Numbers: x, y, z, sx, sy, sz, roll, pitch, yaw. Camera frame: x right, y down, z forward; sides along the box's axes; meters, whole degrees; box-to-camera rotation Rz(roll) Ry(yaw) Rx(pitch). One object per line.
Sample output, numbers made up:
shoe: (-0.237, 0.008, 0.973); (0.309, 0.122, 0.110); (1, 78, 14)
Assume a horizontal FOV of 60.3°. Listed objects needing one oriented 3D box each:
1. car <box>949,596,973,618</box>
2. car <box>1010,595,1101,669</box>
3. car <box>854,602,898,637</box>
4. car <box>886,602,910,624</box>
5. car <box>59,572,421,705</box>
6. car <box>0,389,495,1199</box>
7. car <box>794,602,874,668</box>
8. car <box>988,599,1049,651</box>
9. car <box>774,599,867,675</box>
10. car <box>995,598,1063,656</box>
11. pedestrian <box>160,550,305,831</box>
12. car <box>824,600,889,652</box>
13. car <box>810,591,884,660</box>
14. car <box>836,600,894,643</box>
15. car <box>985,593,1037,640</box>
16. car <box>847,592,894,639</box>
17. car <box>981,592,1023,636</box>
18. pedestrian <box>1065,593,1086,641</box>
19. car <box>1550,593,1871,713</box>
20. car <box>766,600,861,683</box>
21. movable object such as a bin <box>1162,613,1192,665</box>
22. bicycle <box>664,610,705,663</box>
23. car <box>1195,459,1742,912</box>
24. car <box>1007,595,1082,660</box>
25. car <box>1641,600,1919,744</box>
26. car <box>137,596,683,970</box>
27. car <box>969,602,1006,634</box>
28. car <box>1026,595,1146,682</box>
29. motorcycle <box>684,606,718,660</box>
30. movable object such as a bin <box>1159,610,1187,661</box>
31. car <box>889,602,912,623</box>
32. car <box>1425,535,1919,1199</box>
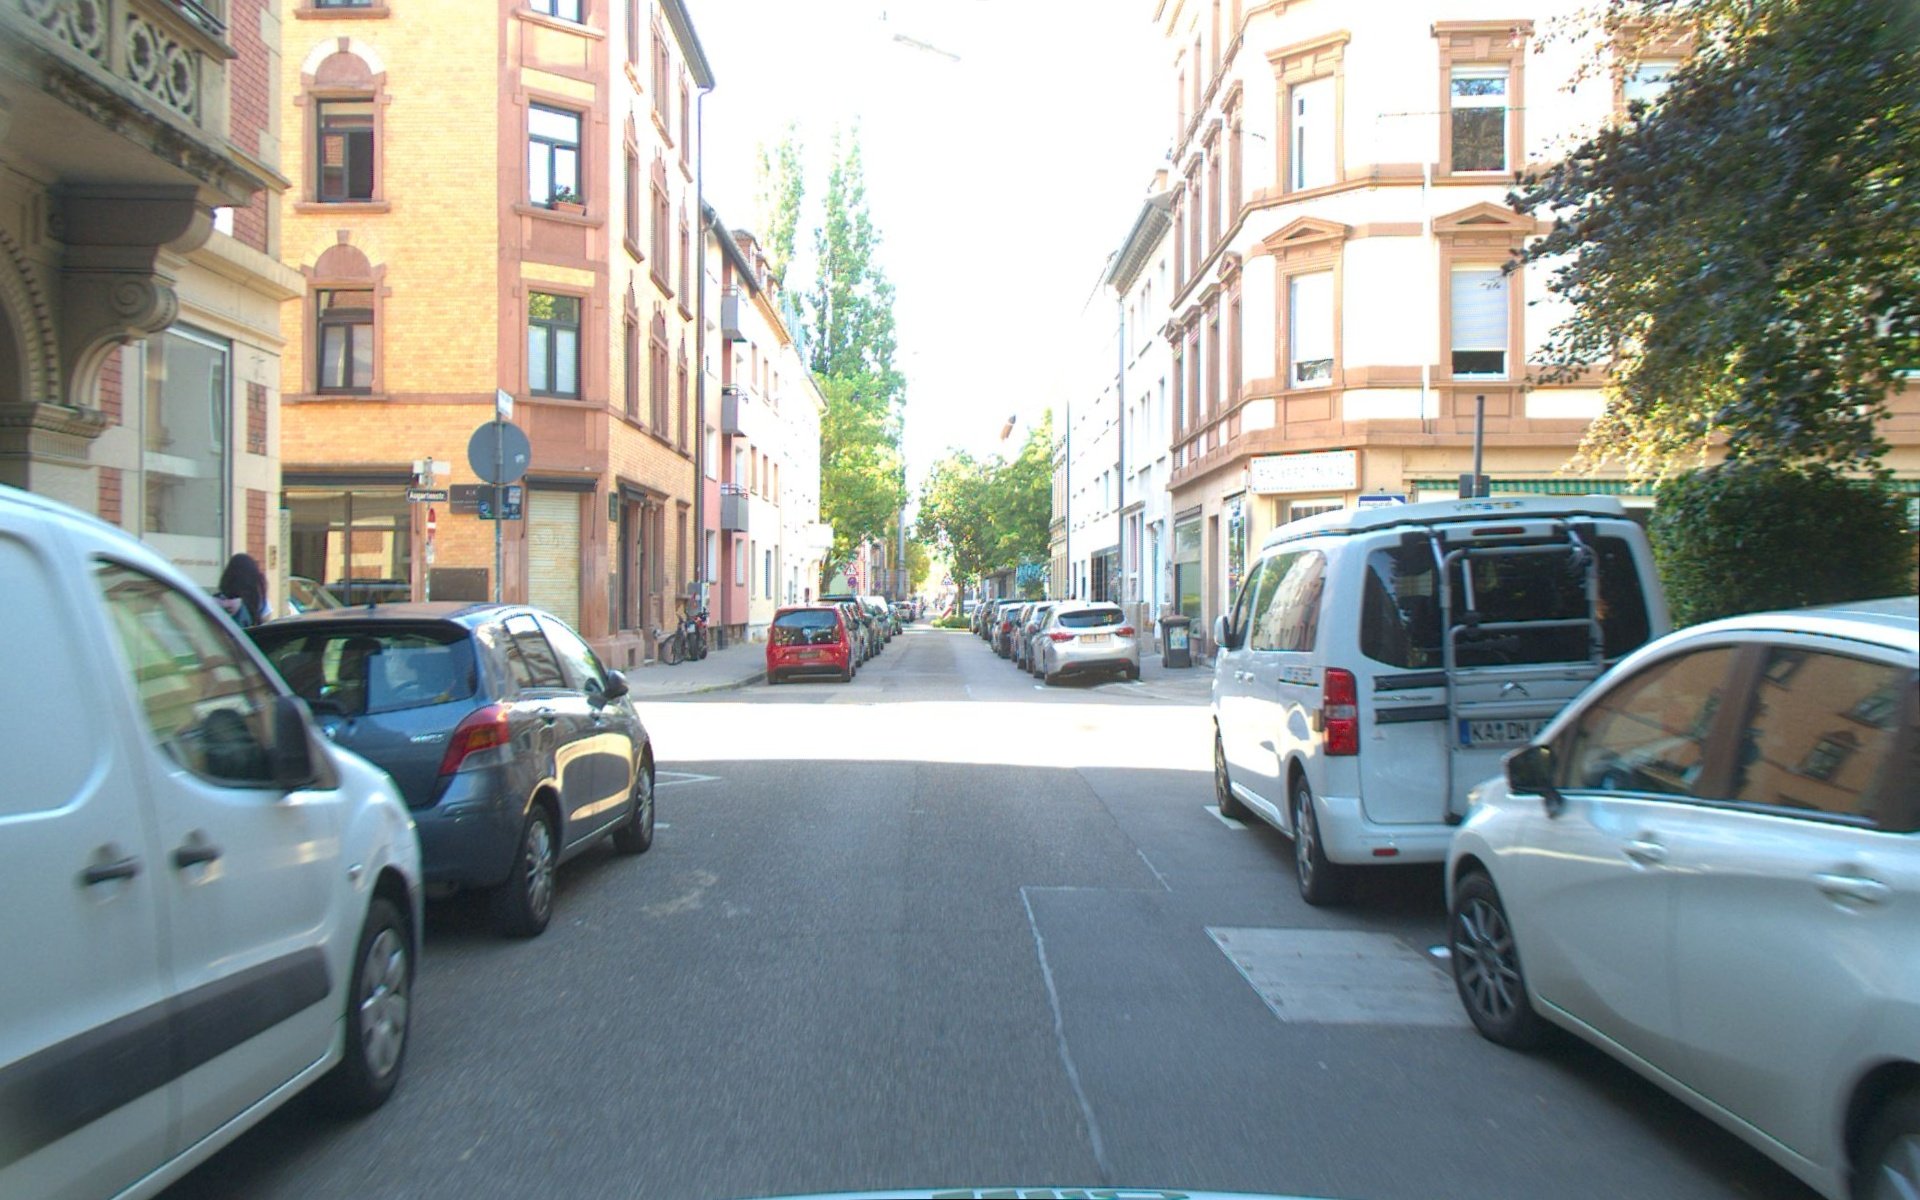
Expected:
car: (0.087, 0.508, 122.505); (1.642, 1.513, 3.636); (-2, 0, -2)
car: (2.127, 0.691, 37.825); (1.709, 1.533, 4.020); (-2, 0, -2)
car: (-3.818, 0.892, 75.824); (1.635, 1.495, 3.821); (-2, 0, 2)
car: (-4.537, 0.972, 121.121); (1.642, 1.513, 4.093); (-2, 0, -2)
car: (-10.874, 0.597, 25.204); (4.612, 1.928, 2.027); (0, -2, 4)
car: (-2.526, 0.588, 3.532); (1.794, 1.843, 4.571); (-2, 0, -1)
car: (-3.175, 0.846, 42.298); (1.622, 1.548, 3.944); (-2, 0, 1)
car: (1.827, 0.756, 52.443); (1.642, 1.533, 3.936); (-2, 0, -2)
car: (-3.111, 0.793, 37.477); (1.660, 1.548, 4.096); (-2, 0, 1)
car: (1.928, 0.741, 47.357); (1.642, 1.533, 3.936); (-2, 0, -2)
pedestrian: (-4.489, 0.550, 10.248); (0.537, 1.673, 0.717); (1, -2, -1)
car: (-3.266, 0.809, 53.002); (1.707, 1.533, 4.346); (-2, 0, 1)
car: (-3.215, 0.699, 47.795); (1.707, 1.842, 4.672); (-2, 0, 1)
car: (-3.538, 0.778, 62.421); (1.638, 1.512, 3.994); (-2, 0, 4)
car: (1.946, 0.638, 64.068); (1.642, 1.655, 4.249); (-4, 0, -2)
car: (-3.604, 0.601, 66.951); (1.729, 1.816, 4.038); (-2, 0, -2)
car: (1.722, 0.592, 69.012); (1.641, 1.711, 4.094); (-2, -1, 0)
pedestrian: (4.099, 0.615, 58.915); (0.671, 1.689, 0.717); (-1, 0, -1)
car: (10.673, 0.759, 23.759); (3.836, 1.636, 1.762); (0, -2, 6)
car: (-2.844, 0.773, 32.713); (1.595, 1.507, 3.600); (-2, 0, -2)
movable object such as a bin: (4.572, 0.814, 34.874); (0.503, 1.058, 0.619); (-2, 0, 0)
bicycle: (-6.052, 0.790, 36.404); (0.522, 1.092, 1.891); (4, 0, 0)
car: (2.691, 0.392, 10.042); (1.875, 2.033, 4.792); (-2, 0, 1)
car: (2.145, 0.674, 42.818); (1.566, 1.533, 4.183); (-2, 0, -2)
car: (9.727, 0.792, 18.097); (3.837, 1.464, 1.798); (1, -2, 3)
car: (-2.634, 0.761, 8.921); (1.658, 1.507, 3.972); (-2, 0, -2)
car: (1.379, 0.867, 83.588); (1.642, 1.513, 4.093); (-2, 0, -2)
car: (2.387, 0.701, 32.300); (1.709, 1.533, 4.354); (-2, 0, -4)
motorcycle: (-6.070, 0.764, 38.823); (0.522, 1.227, 1.908); (0, 0, 0)
movable object such as a bin: (4.583, 0.757, 35.566); (0.503, 1.058, 0.594); (-2, 0, 0)
car: (-4.536, 0.962, 126.374); (1.642, 1.513, 4.093); (-2, 0, -2)
car: (2.707, 0.671, 4.480); (1.684, 1.598, 3.826); (0, 0, -3)
